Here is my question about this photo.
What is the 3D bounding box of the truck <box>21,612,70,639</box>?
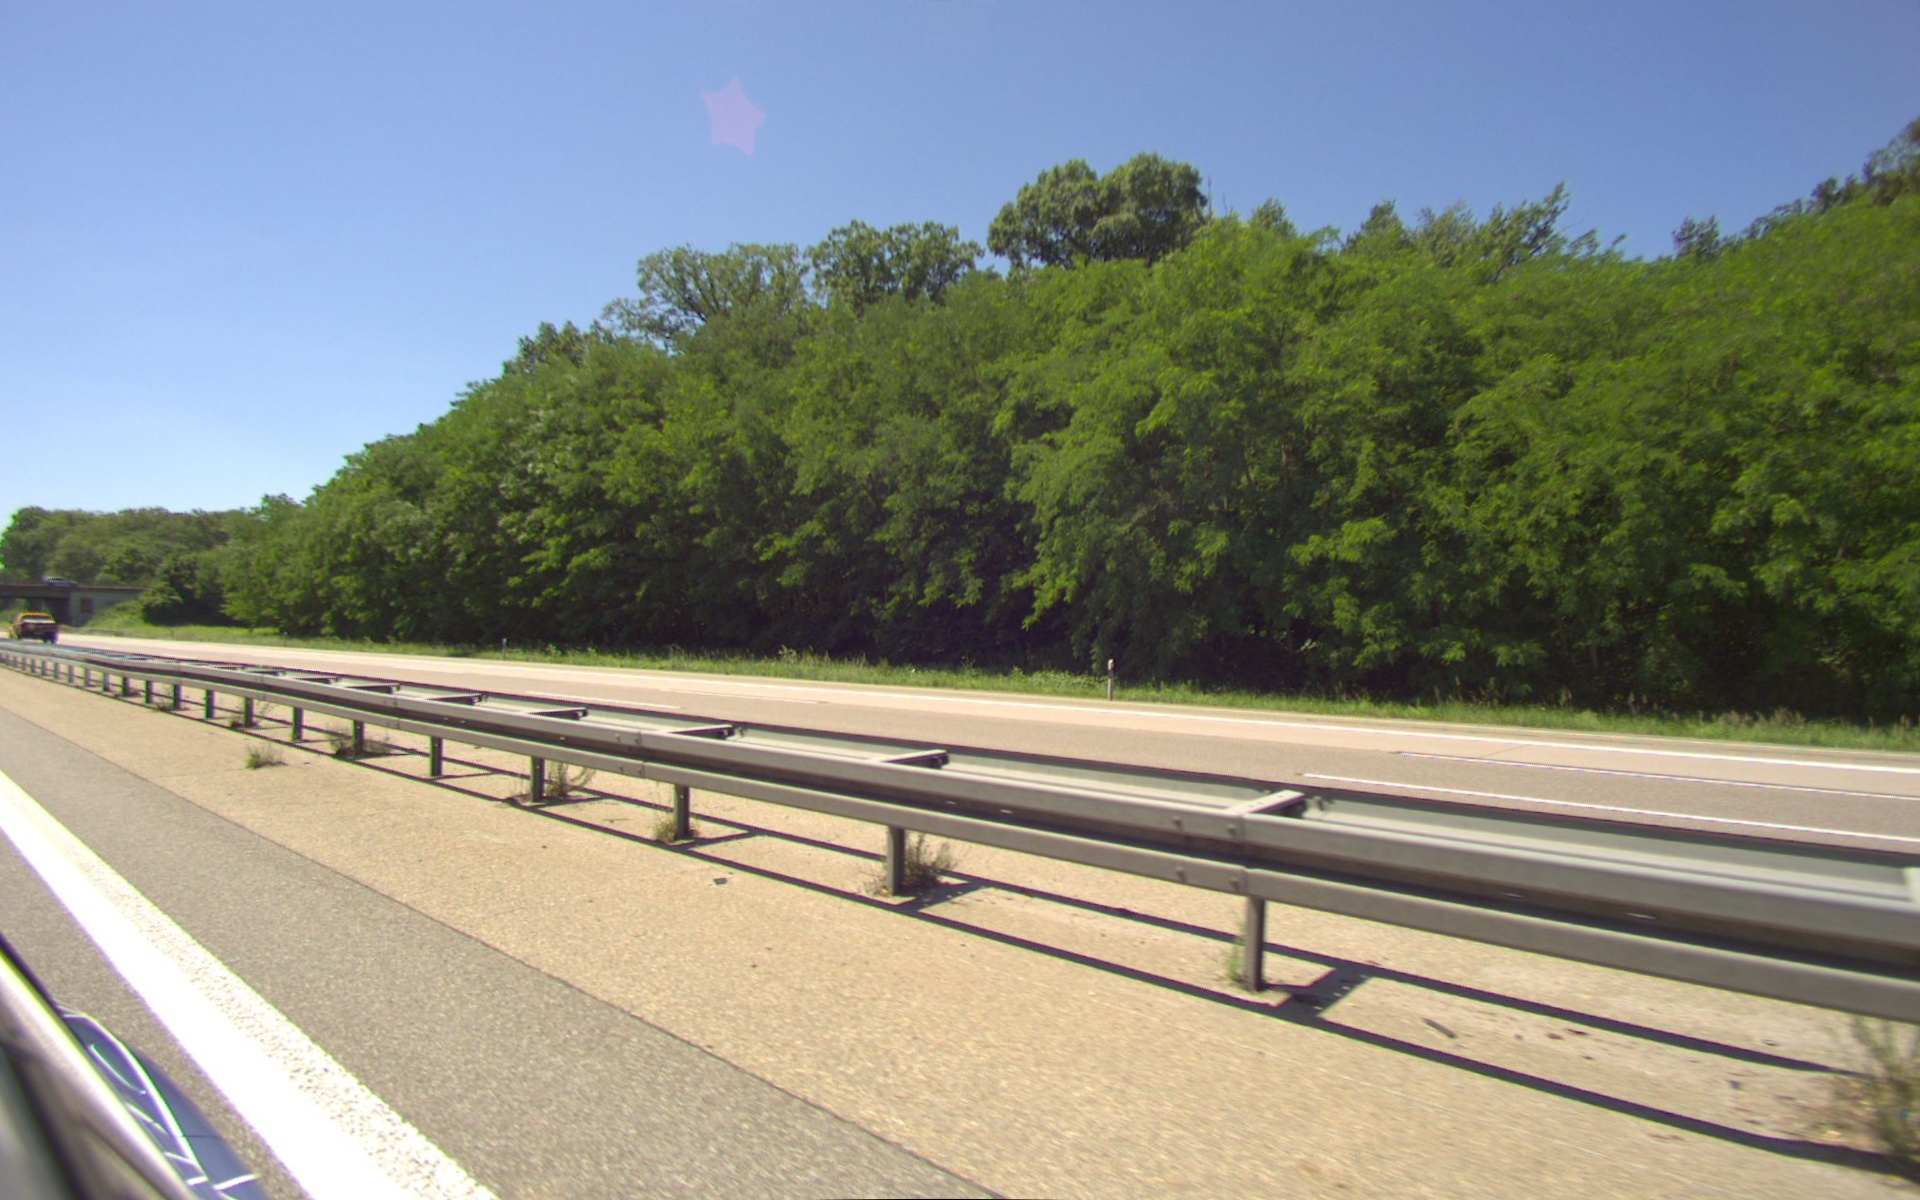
[{"bbox_3d":[-107.202,2.989,118.513,12.849,3.013,2.724,-1,-3,41],"label":"truck"}]

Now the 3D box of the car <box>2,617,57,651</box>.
[{"bbox_3d":[-57.832,2.082,62.871,5.209,1.979,1.973,-1,-1,41],"label":"car"}]
